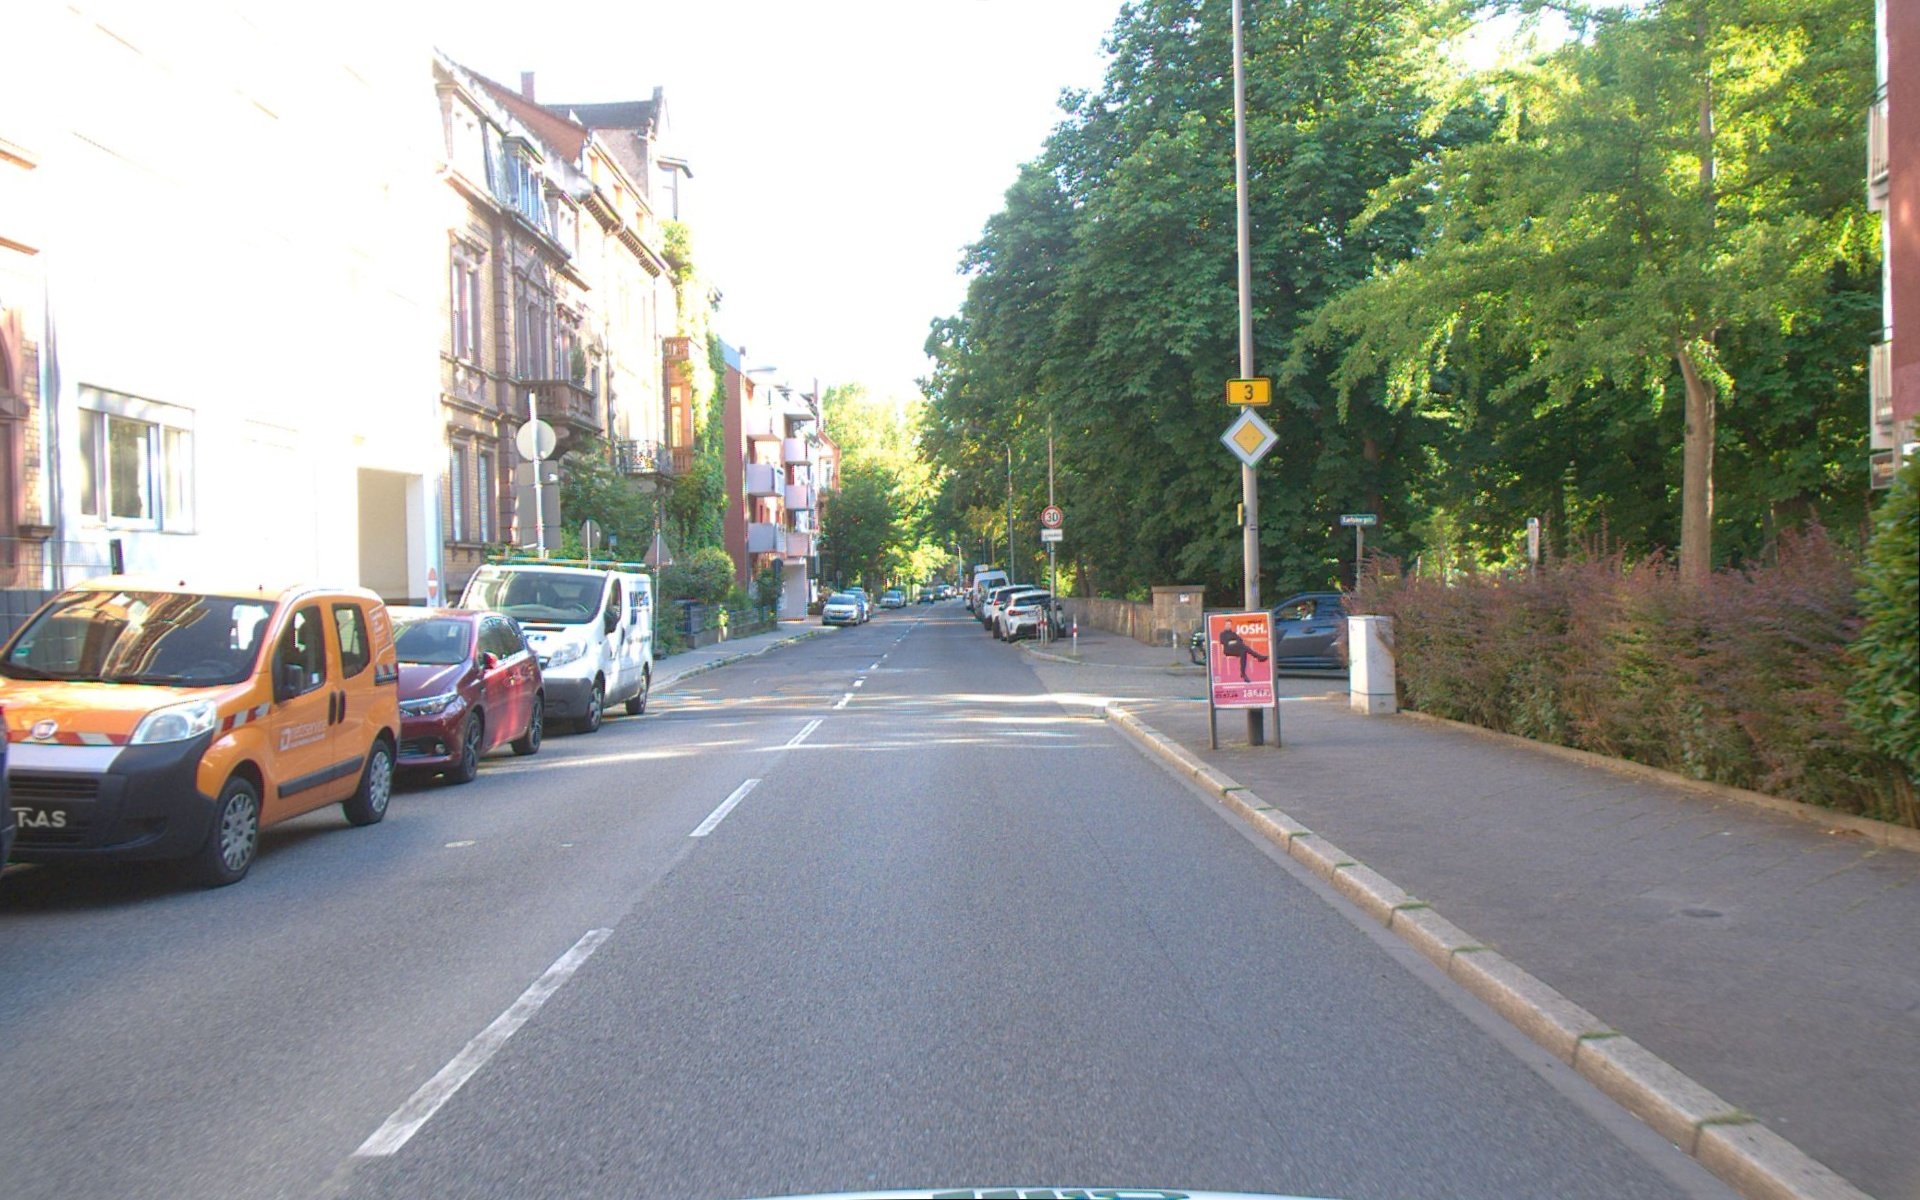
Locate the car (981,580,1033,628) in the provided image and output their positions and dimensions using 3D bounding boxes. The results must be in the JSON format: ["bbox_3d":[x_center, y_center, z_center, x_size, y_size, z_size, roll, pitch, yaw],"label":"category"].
[{"bbox_3d":[1.867,0.136,66.424,1.952,1.767,4.001,-2,1,1],"label":"car"}]

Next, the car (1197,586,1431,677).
[{"bbox_3d":[6.857,0.578,32.478,4.342,1.681,2.002,0,1,8],"label":"car"}]

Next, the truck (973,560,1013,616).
[{"bbox_3d":[1.797,-0.723,91.554,1.953,2.947,4.470,-2,1,-1],"label":"truck"}]

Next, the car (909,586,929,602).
[{"bbox_3d":[-4.344,-0.667,176.462,1.953,1.517,4.470,-2,1,-1],"label":"car"}]

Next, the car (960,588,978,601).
[{"bbox_3d":[1.132,-0.773,215.801,1.954,1.517,4.467,-2,1,-4],"label":"car"}]

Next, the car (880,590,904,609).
[{"bbox_3d":[-6.144,-0.076,149.220,1.953,1.517,4.470,-2,1,-1],"label":"car"}]

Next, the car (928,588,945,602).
[{"bbox_3d":[-2.935,-0.621,206.727,1.953,1.517,4.470,-2,1,-1],"label":"car"}]

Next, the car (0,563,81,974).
[{"bbox_3d":[-4.890,0.728,5.386,1.667,1.737,4.440,0,1,0],"label":"car"}]

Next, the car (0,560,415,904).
[{"bbox_3d":[-4.861,0.657,10.428,1.668,1.769,3.856,0,1,-2],"label":"car"}]

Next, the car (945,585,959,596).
[{"bbox_3d":[-1.204,-1.473,248.670,1.953,1.517,4.470,-2,1,-1],"label":"car"}]

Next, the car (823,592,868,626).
[{"bbox_3d":[-5.690,0.423,82.599,1.953,1.517,4.470,-2,1,-1],"label":"car"}]

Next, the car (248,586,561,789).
[{"bbox_3d":[-5.042,0.700,15.605,1.668,1.648,4.116,0,1,-2],"label":"car"}]

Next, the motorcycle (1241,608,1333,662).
[{"bbox_3d":[7.123,0.762,36.055,1.866,1.131,0.790,0,1,2],"label":"motorcycle"}]

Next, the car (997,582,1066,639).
[{"bbox_3d":[2.136,0.283,50.381,1.952,1.544,4.001,-2,1,1],"label":"car"}]

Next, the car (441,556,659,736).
[{"bbox_3d":[-5.104,0.498,21.227,1.756,2.045,4.696,0,1,-2],"label":"car"}]

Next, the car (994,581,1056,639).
[{"bbox_3d":[2.159,0.295,55.872,1.952,1.767,4.001,-2,1,1],"label":"car"}]
